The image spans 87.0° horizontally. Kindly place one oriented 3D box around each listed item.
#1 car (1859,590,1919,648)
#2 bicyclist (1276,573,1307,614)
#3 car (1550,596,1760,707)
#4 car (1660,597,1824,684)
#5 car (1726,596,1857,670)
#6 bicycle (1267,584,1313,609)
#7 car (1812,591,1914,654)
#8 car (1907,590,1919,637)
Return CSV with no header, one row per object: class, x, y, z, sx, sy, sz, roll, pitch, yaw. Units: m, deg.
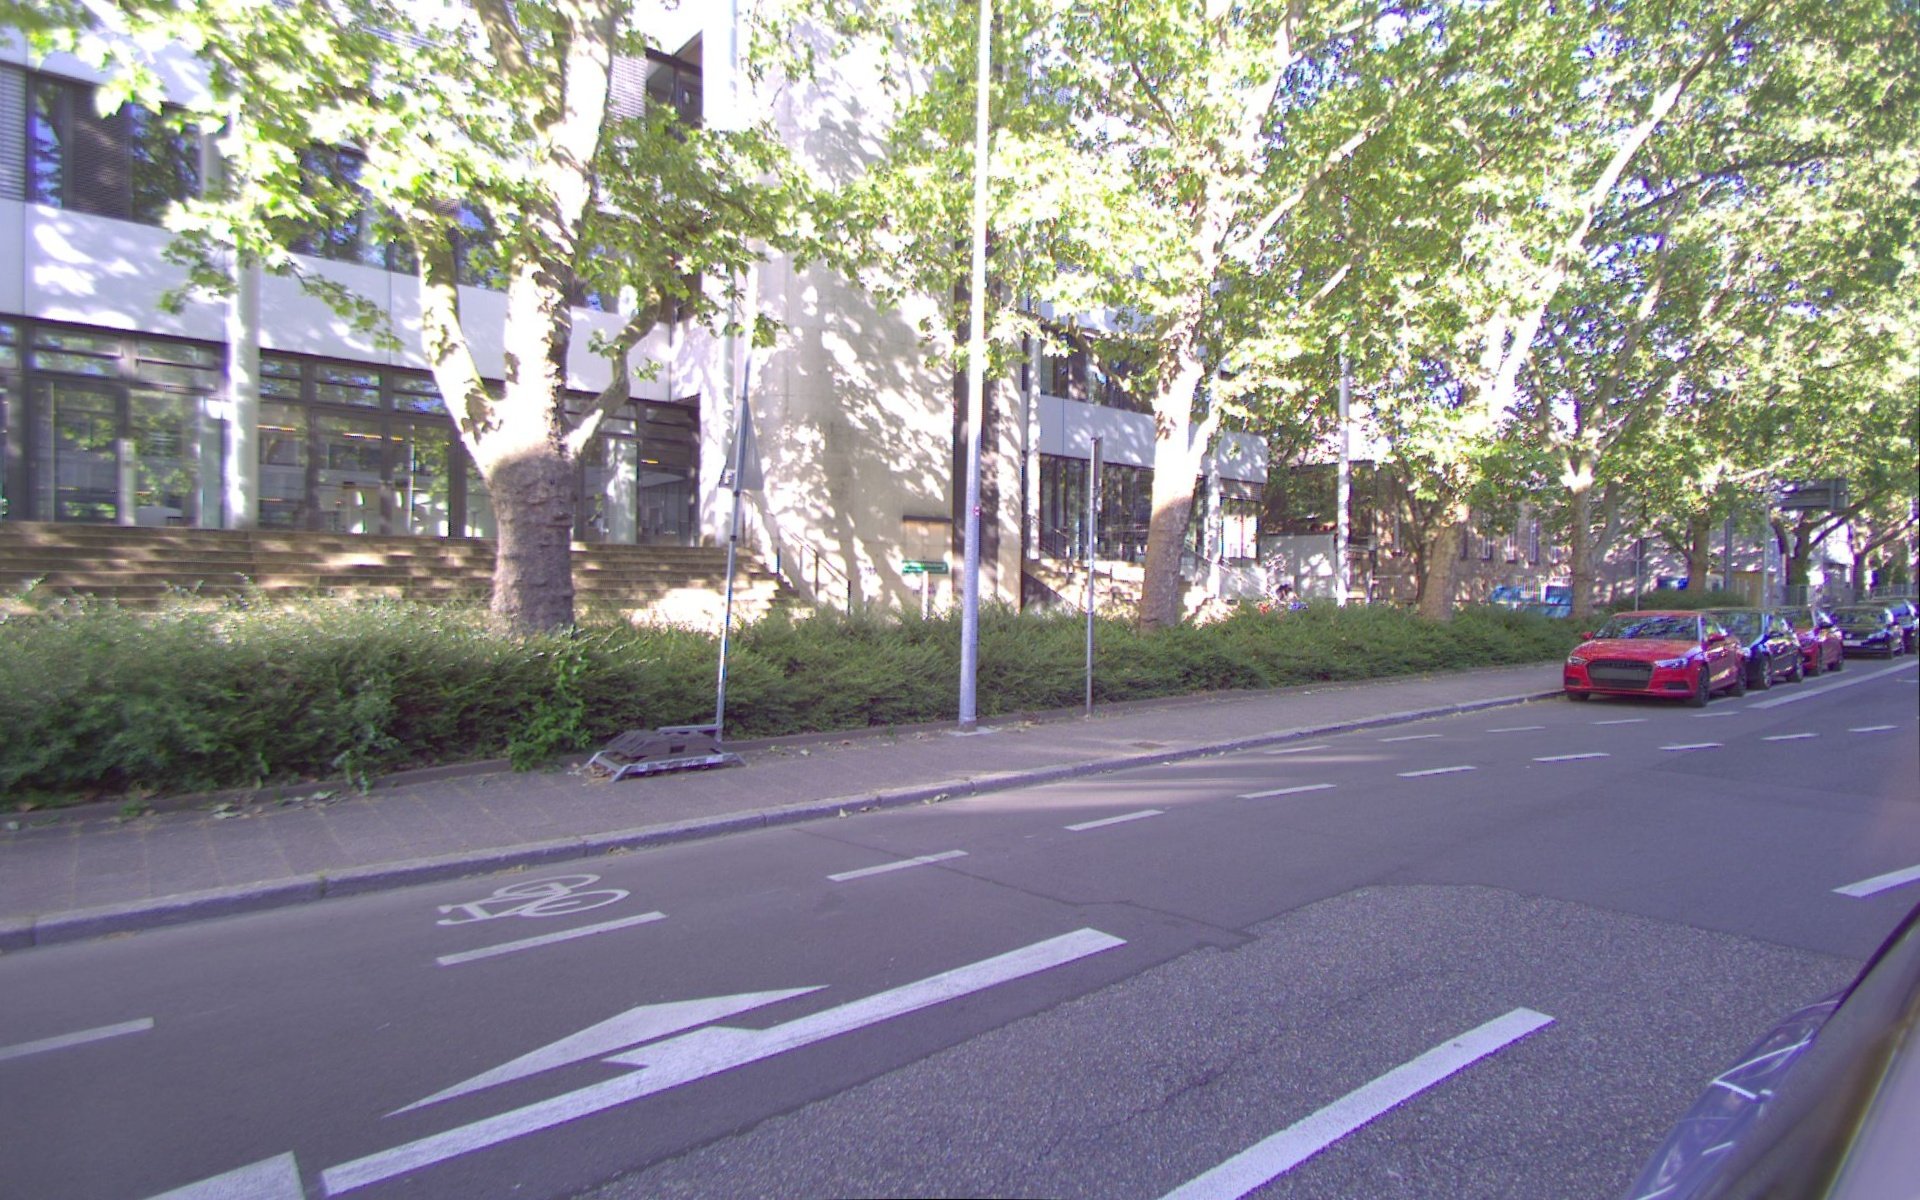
car,29.697,0.552,31.895,3.840,1.708,1.633,0,1,-42
bicyclist,13.632,-0.277,41.636,0.684,1.640,1.039,0,0,-28
car,11.182,0.733,16.182,4.071,1.548,1.827,0,-1,-42
car,14.949,0.708,19.277,4.022,1.472,1.739,0,-1,-42
car,18.567,0.680,22.548,3.851,1.511,1.679,0,-1,-42
bicycle,13.578,-0.143,41.720,0.719,1.027,1.802,0,0,-28
car,25.768,0.585,28.851,4.022,1.653,1.739,0,1,-42
car,38.920,0.537,40.098,3.829,1.818,1.739,0,1,-42
